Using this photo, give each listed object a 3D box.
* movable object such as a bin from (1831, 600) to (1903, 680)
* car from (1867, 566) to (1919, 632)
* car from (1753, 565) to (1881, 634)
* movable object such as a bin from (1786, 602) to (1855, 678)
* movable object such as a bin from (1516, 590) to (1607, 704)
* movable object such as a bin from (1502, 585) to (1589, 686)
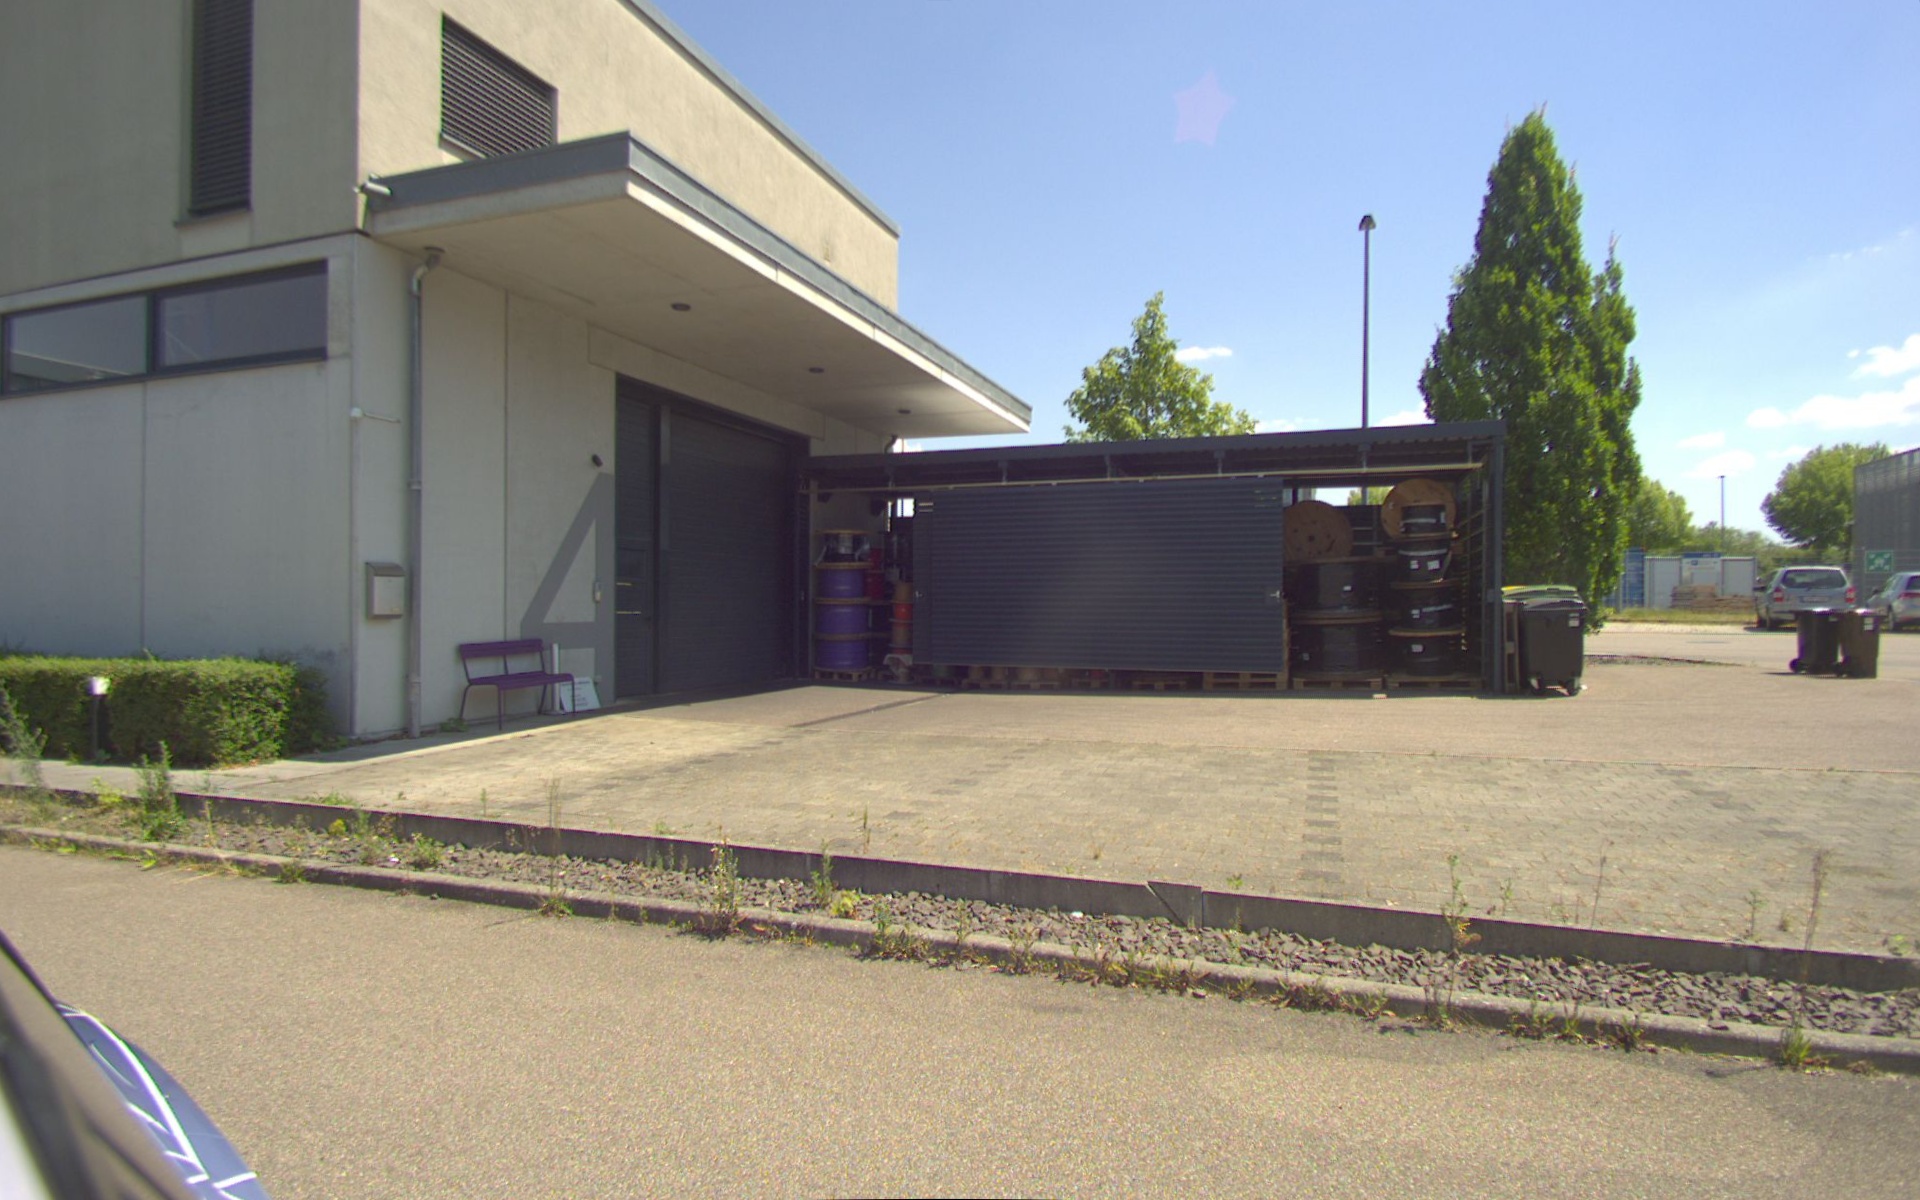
[{"bbox_3d":[12.186,0.526,13.605,0.418,1.044,0.580,0,0,-13],"label":"movable object such as a bin"},{"bbox_3d":[23.509,-0.046,24.294,1.995,1.503,3.955,1,2,34],"label":"car"},{"bbox_3d":[21.665,-0.060,25.745,1.995,1.602,3.955,1,2,34],"label":"car"},{"bbox_3d":[12.054,0.554,14.189,0.418,1.035,0.583,0,0,-13],"label":"movable object such as a bin"},{"bbox_3d":[7.482,0.560,12.623,0.879,1.355,0.806,-1,0,26],"label":"movable object such as a bin"},{"bbox_3d":[8.021,0.476,13.904,0.968,1.340,0.703,-1,0,26],"label":"movable object such as a bin"}]
